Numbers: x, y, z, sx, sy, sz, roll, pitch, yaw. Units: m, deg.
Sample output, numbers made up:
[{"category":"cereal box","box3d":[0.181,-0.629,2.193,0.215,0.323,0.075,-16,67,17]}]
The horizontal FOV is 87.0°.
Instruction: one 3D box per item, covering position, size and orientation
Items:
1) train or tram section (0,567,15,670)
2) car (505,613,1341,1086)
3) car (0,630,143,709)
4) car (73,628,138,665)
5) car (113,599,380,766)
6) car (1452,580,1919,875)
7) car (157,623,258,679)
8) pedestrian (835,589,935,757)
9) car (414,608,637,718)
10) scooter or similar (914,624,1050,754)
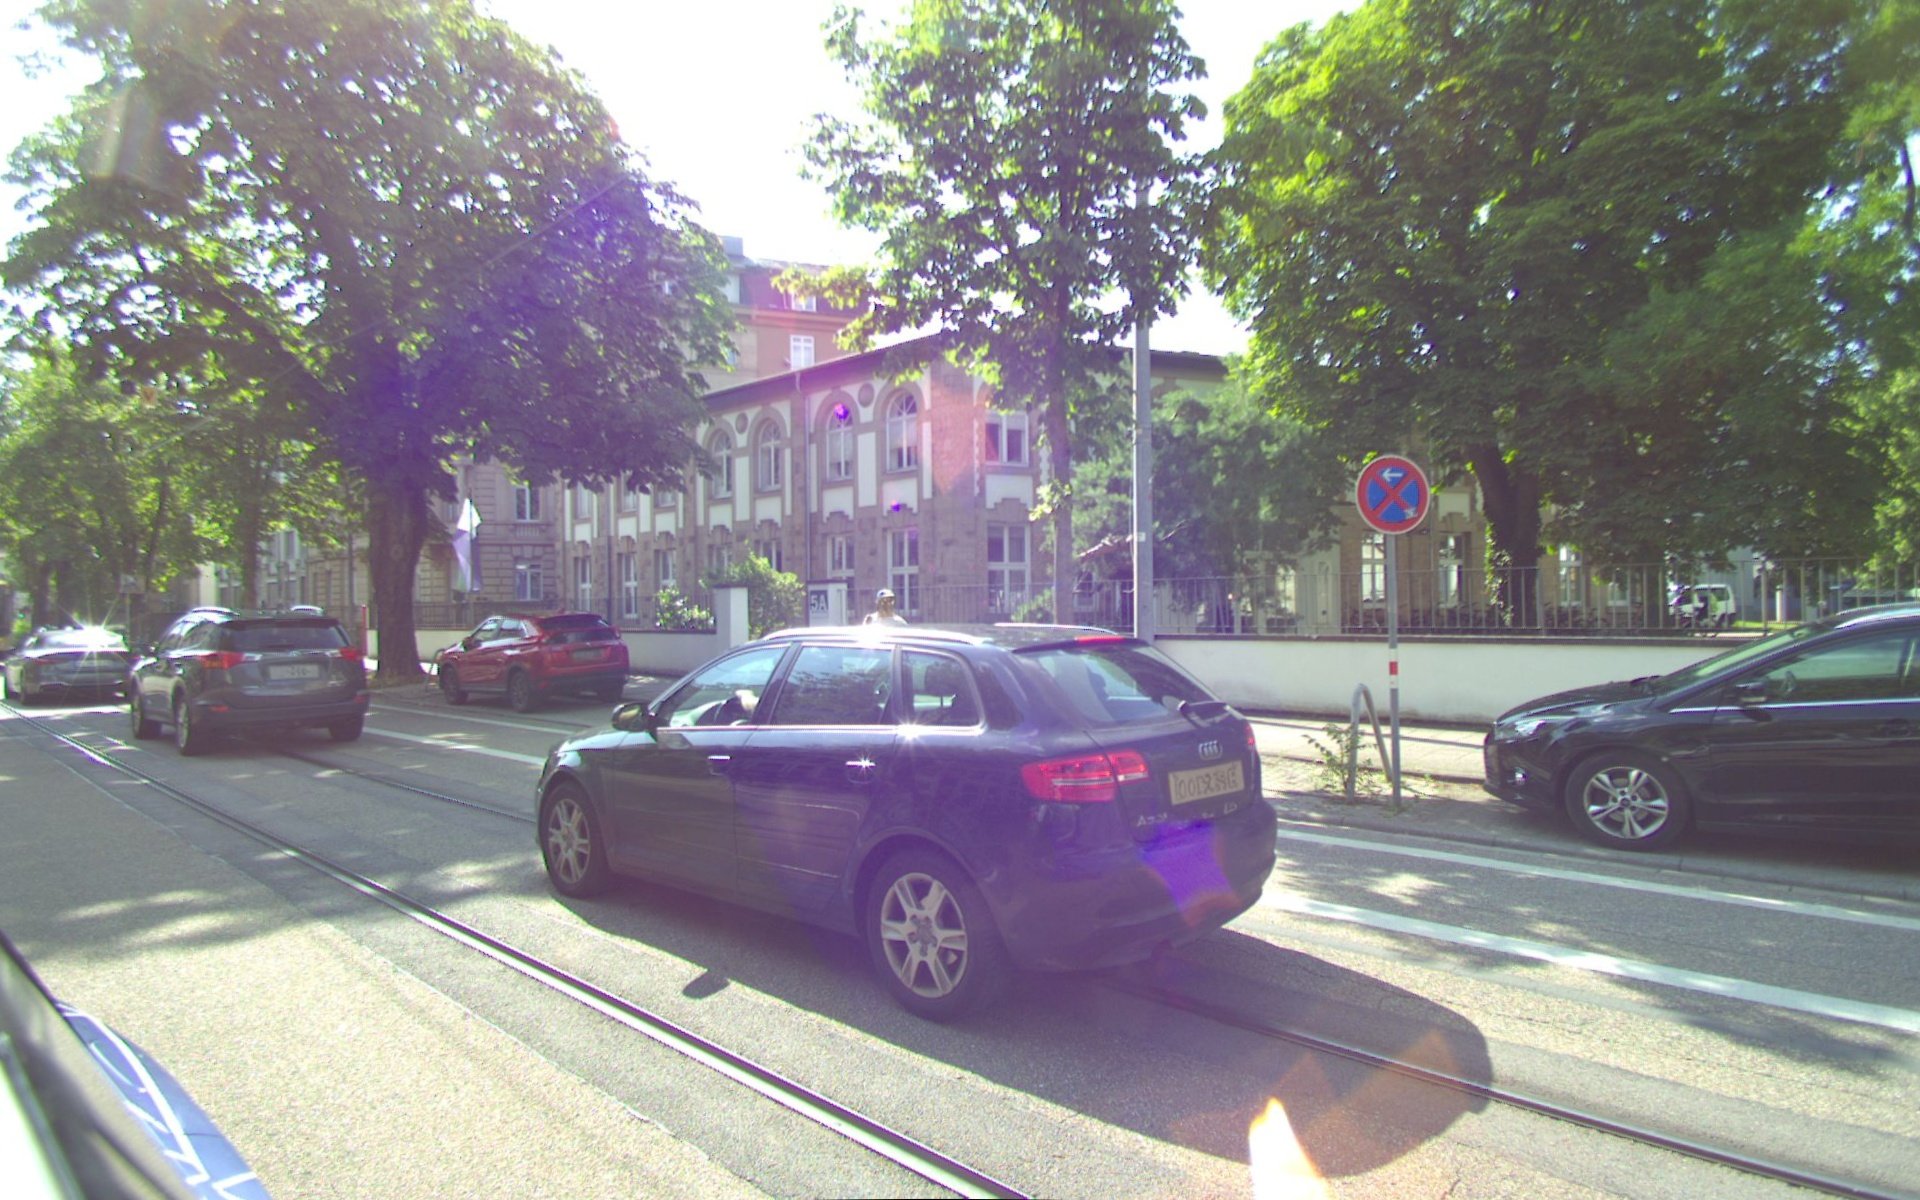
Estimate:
[{"category":"train or tram section","box3d":[-37.528,0.699,37.348,14.104,3.381,2.624,-1,-2,42]},{"category":"car","box3d":[-0.444,0.792,4.956,3.997,1.386,1.705,-1,-3,41]},{"category":"car","box3d":[-17.925,1.310,20.215,4.424,1.399,1.780,-2,-2,41]},{"category":"car","box3d":[-38.813,2.087,45.947,3.807,1.496,1.637,-1,1,41]},{"category":"car","box3d":[-9.069,0.889,12.712,4.390,1.740,1.806,-1,0,42]},{"category":"car","box3d":[5.606,0.659,5.967,4.587,1.527,1.732,-1,1,39]},{"category":"car","box3d":[-25.092,1.641,33.673,4.329,1.653,1.788,-1,1,41]},{"category":"pedestrian","box3d":[-0.832,0.778,11.299,0.750,1.780,0.782,-1,0,32]},{"category":"car","box3d":[-7.868,1.031,18.101,4.718,1.678,1.732,-1,1,41]},{"category":"scooter or similar","box3d":[0.263,0.944,11.274,0.854,1.289,1.325,-1,1,40]}]
